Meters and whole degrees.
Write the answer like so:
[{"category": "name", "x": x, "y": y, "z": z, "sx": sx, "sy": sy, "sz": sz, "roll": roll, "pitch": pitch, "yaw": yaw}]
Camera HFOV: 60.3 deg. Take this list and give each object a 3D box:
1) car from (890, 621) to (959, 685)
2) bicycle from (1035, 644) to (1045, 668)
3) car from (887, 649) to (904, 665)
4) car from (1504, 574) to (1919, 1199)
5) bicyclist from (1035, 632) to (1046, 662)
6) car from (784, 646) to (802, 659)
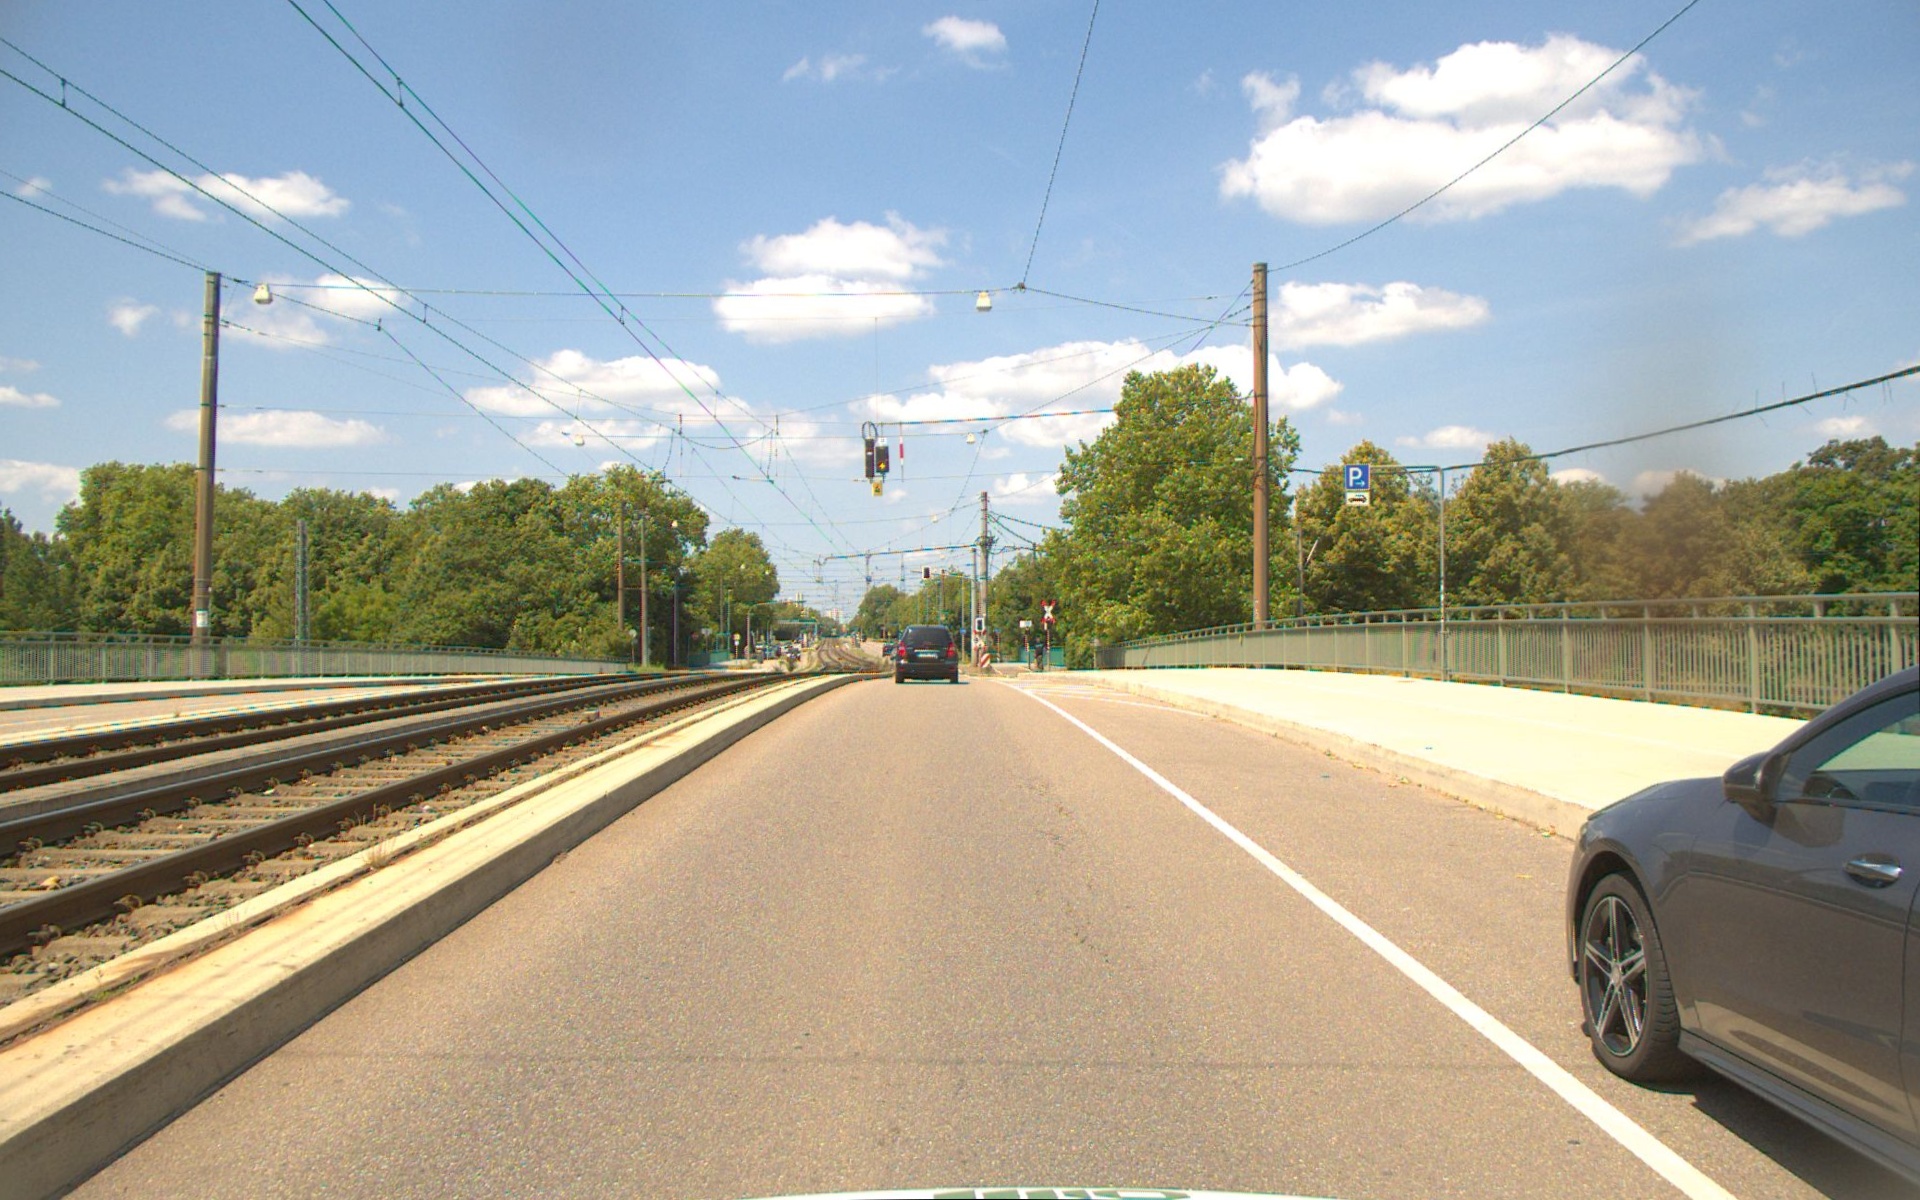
[{"category": "car", "x": -0.990, "y": 1.443, "z": 46.293, "sx": 1.815, "sy": 1.597, "sz": 4.387, "roll": 1, "pitch": 0, "yaw": -1}, {"category": "bicycle", "x": 4.236, "y": 2.957, "z": 87.206, "sx": 0.423, "sy": 1.172, "sz": 1.855, "roll": 1, "pitch": 0, "yaw": 0}, {"category": "car", "x": -7.581, "y": 6.695, "z": 194.356, "sx": 1.846, "sy": 1.668, "sz": 3.999, "roll": 3, "pitch": -1, "yaw": -1}, {"category": "car", "x": 3.110, "y": 0.742, "z": 3.874, "sx": 1.953, "sy": 1.579, "sz": 4.719, "roll": 1, "pitch": 1, "yaw": -2}, {"category": "bicyclist", "x": 4.240, "y": 2.474, "z": 87.282, "sx": 0.573, "sy": 1.521, "sz": 0.558, "roll": 1, "pitch": 0, "yaw": 0}, {"category": "car", "x": -19.772, "y": 6.231, "z": 195.930, "sx": 1.670, "sy": 1.537, "sz": 3.732, "roll": -2, "pitch": -2, "yaw": 0}]
